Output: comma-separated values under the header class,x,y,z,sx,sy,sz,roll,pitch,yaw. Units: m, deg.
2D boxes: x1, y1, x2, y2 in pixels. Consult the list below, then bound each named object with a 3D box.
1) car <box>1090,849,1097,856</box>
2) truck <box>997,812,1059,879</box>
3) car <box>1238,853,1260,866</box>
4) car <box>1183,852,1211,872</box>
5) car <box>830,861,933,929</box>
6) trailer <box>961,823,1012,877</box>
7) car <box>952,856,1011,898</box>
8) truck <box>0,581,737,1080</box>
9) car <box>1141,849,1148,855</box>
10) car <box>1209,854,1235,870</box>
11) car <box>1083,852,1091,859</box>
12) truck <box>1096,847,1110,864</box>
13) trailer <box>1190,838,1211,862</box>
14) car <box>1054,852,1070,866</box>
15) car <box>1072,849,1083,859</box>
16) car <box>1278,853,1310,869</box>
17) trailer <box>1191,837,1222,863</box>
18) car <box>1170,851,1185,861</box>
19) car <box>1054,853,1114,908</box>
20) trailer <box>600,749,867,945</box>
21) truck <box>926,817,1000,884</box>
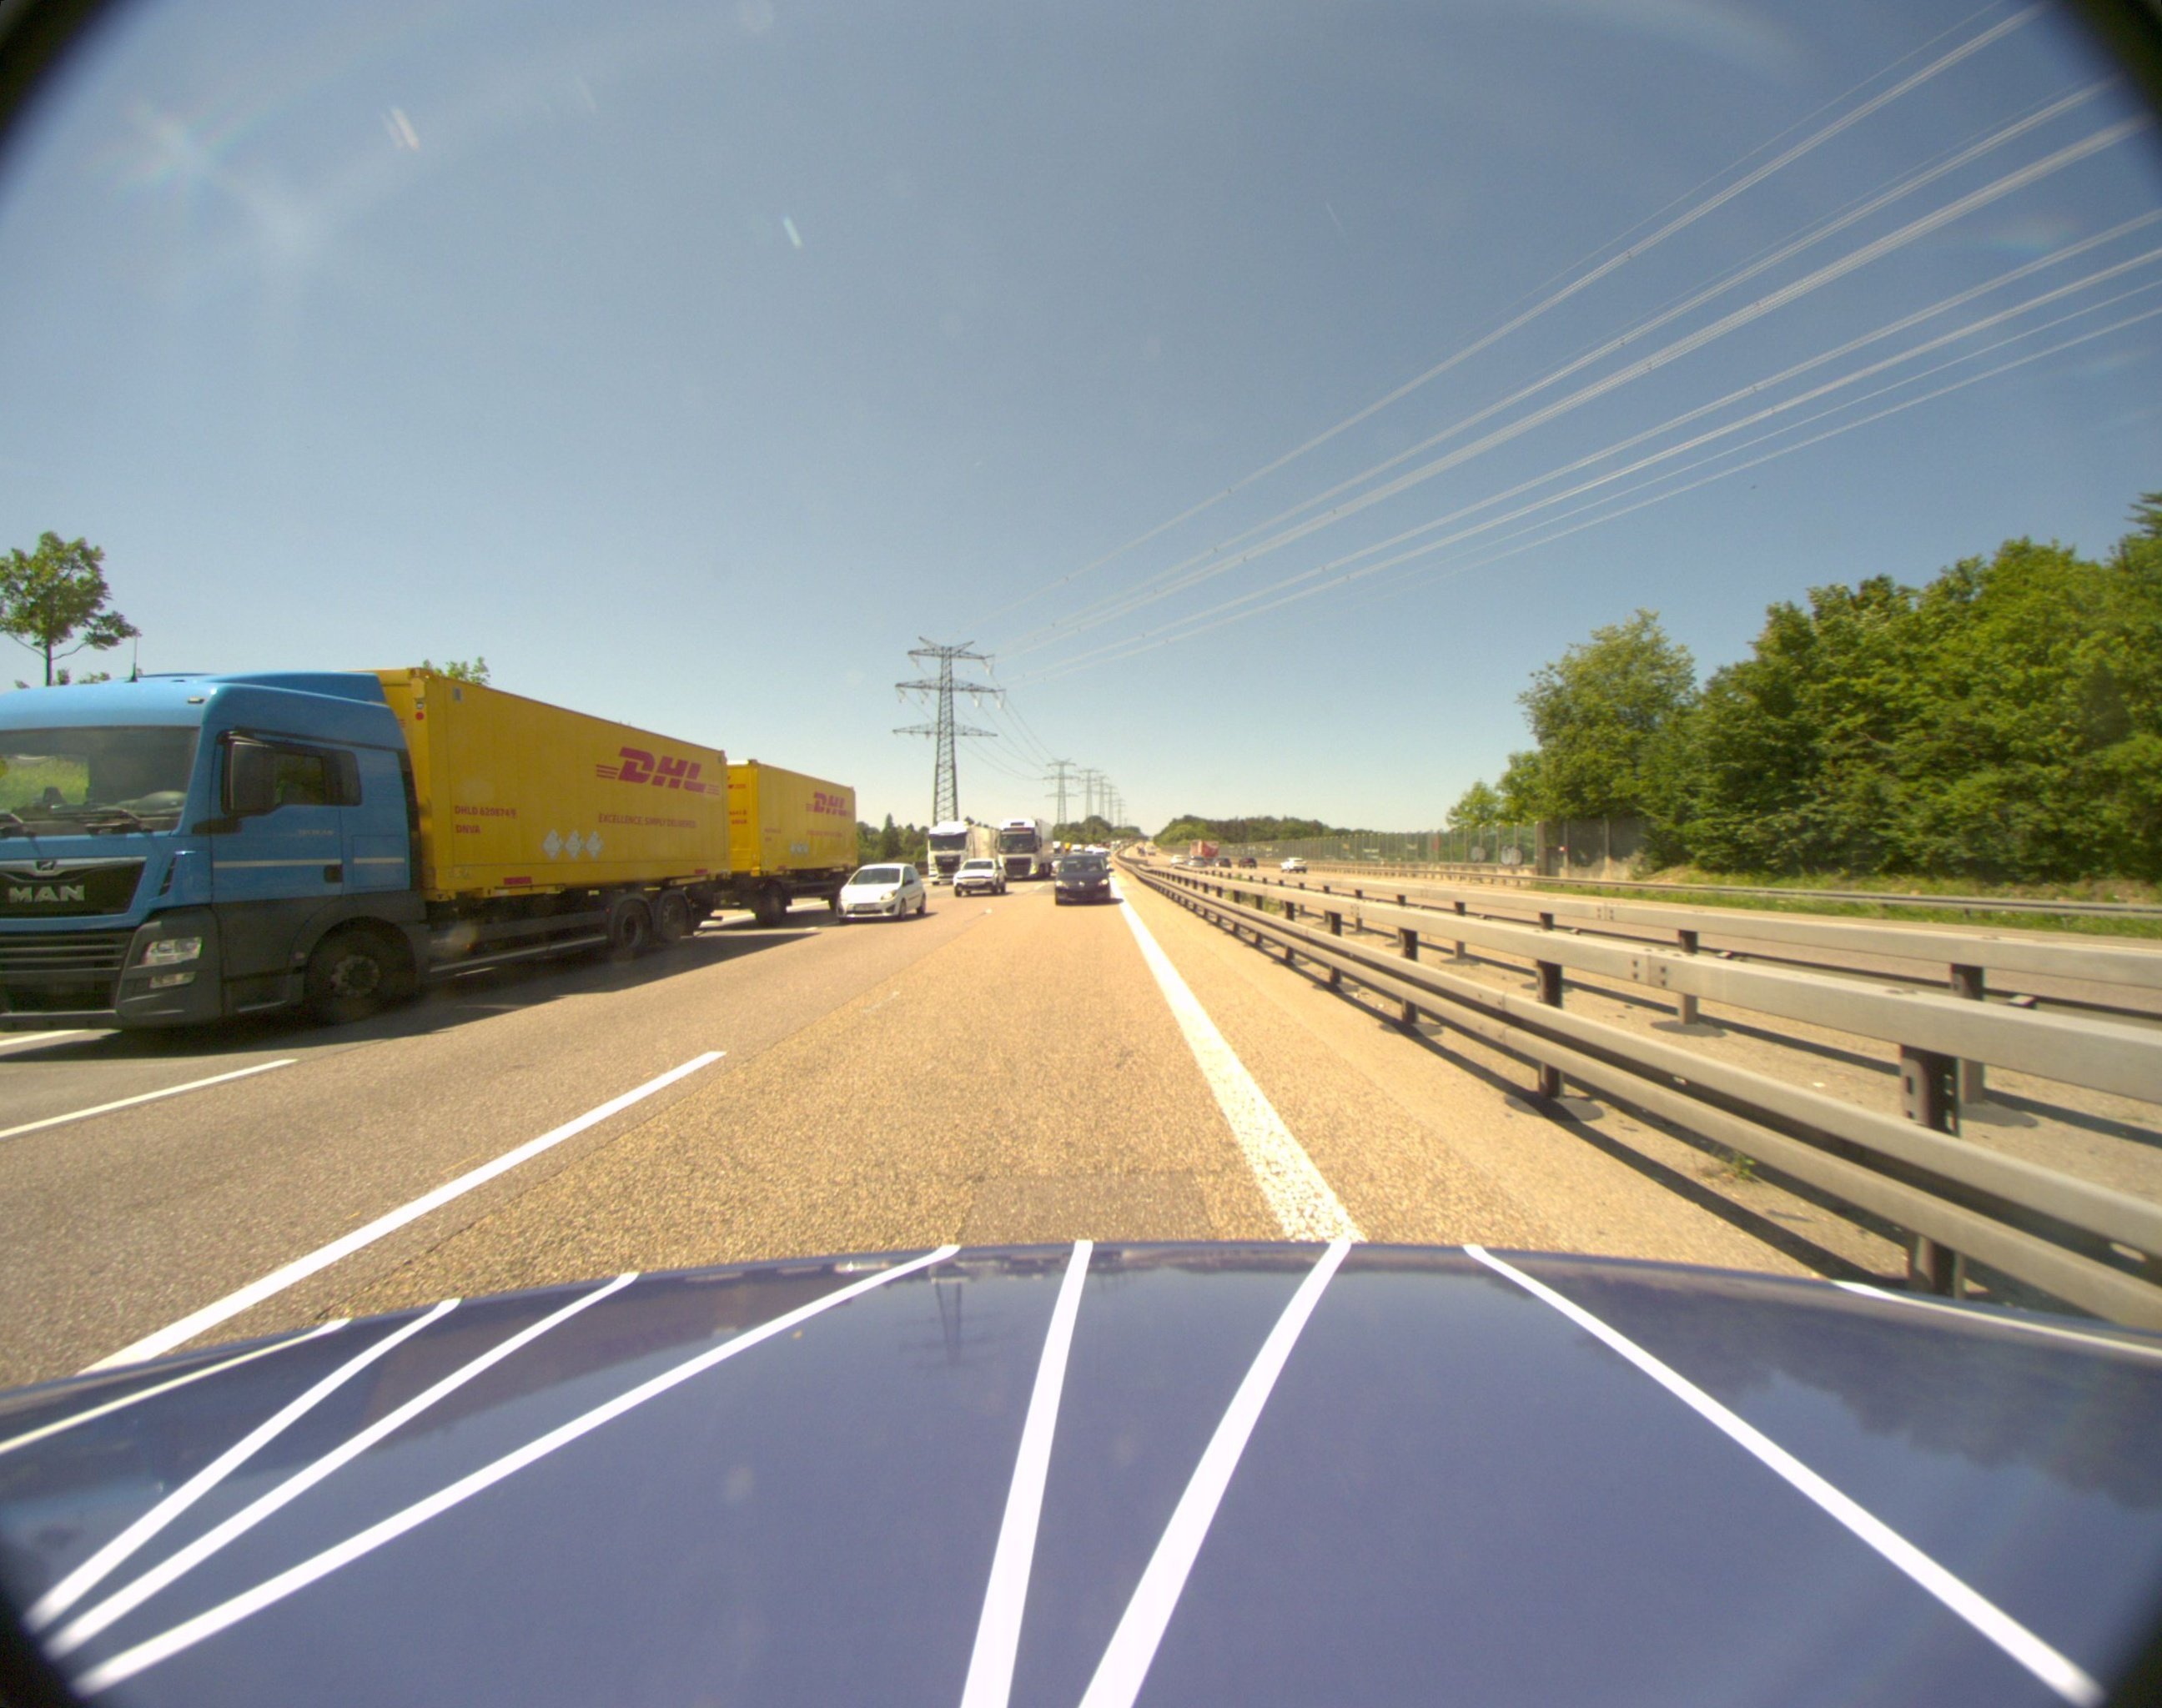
class,x,y,z,sx,sy,sz,roll,pitch,yaw
car,3.566,-0.360,217.865,1.998,2.002,4.000,-2,1,2
truck,-3.465,-0.560,53.827,2.717,4.015,14.257,-2,0,2
car,22.374,0.755,101.599,1.998,1.567,5.275,-2,1,3
car,10.235,0.645,67.402,1.778,1.621,3.950,-2,1,0
car,-5.251,1.027,20.460,1.659,1.502,3.825,-2,1,1
trailer,-7.362,-0.298,60.342,2.752,3.918,7.774,-2,0,2
car,-4.156,0.929,32.331,1.776,1.521,3.851,-2,1,2
truck,-8.866,-0.145,11.295,2.772,4.085,9.953,-2,0,0
car,21.746,-0.818,261.668,1.998,1.929,4.896,-2,1,2
car,14.315,0.785,77.218,1.881,1.438,4.144,0,1,0
car,1.427,0.295,181.719,1.821,1.569,4.000,-2,1,2
truck,3.962,0.257,136.553,2.309,2.789,5.110,-2,1,2
trailer,20.190,-0.624,128.633,2.763,3.953,6.132,1,0,1
car,-2.442,0.603,96.972,1.821,1.569,4.000,-2,1,2
car,-0.613,-0.020,135.649,1.821,1.569,4.000,-2,1,2
car,21.644,0.692,77.332,1.690,1.447,4.343,0,1,-4
trailer,20.087,-0.640,122.516,2.770,3.953,14.682,1,0,1
car,15.446,0.328,121.720,1.855,1.458,4.304,0,1,0
car,0.176,0.795,25.135,1.748,1.569,4.000,-2,1,2
trailer,-8.747,-0.127,20.912,2.772,4.093,9.377,-2,0,1
truck,-7.622,-0.231,50.839,2.695,3.907,11.297,-2,0,2
